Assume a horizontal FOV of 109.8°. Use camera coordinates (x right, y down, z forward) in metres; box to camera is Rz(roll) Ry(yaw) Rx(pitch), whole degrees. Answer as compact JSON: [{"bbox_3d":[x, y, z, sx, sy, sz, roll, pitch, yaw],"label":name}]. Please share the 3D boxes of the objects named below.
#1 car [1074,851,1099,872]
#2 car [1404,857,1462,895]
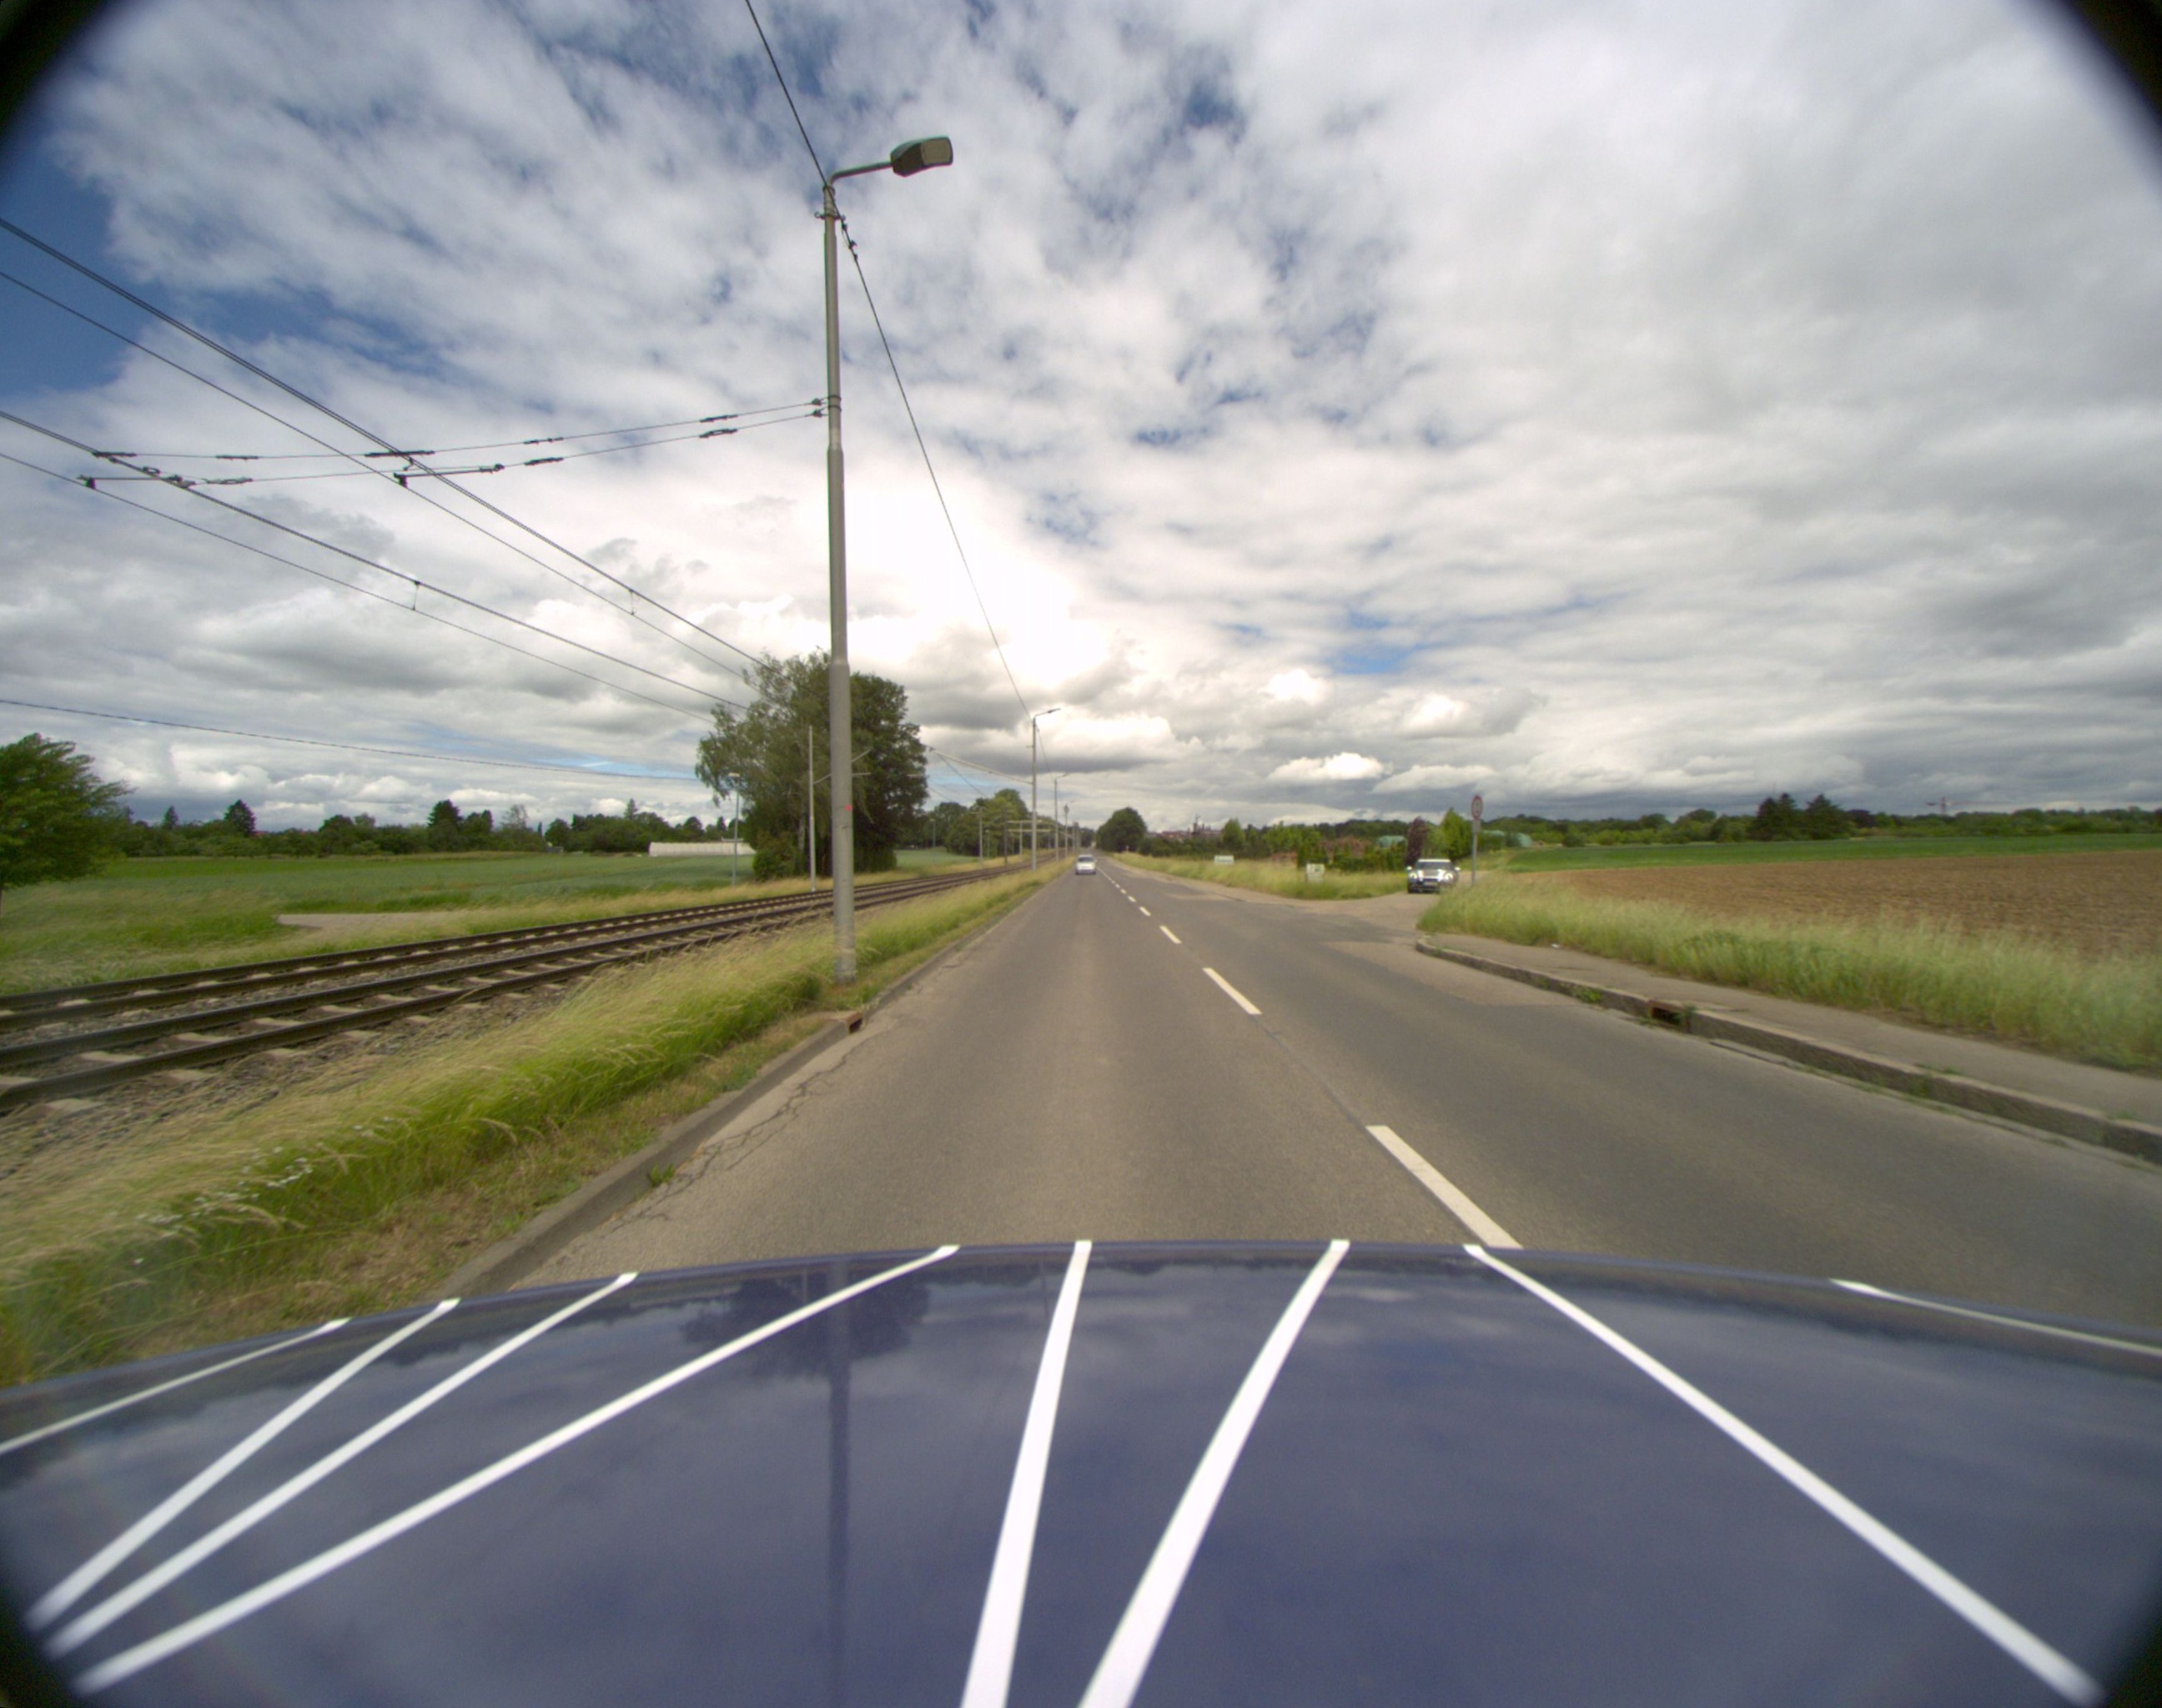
[{"bbox_3d":[0.452,0.640,64.242,1.999,1.679,3.999,0,1,-1],"label":"car"},{"bbox_3d":[14.644,0.866,31.466,1.970,1.445,4.008,0,0,28],"label":"car"}]
